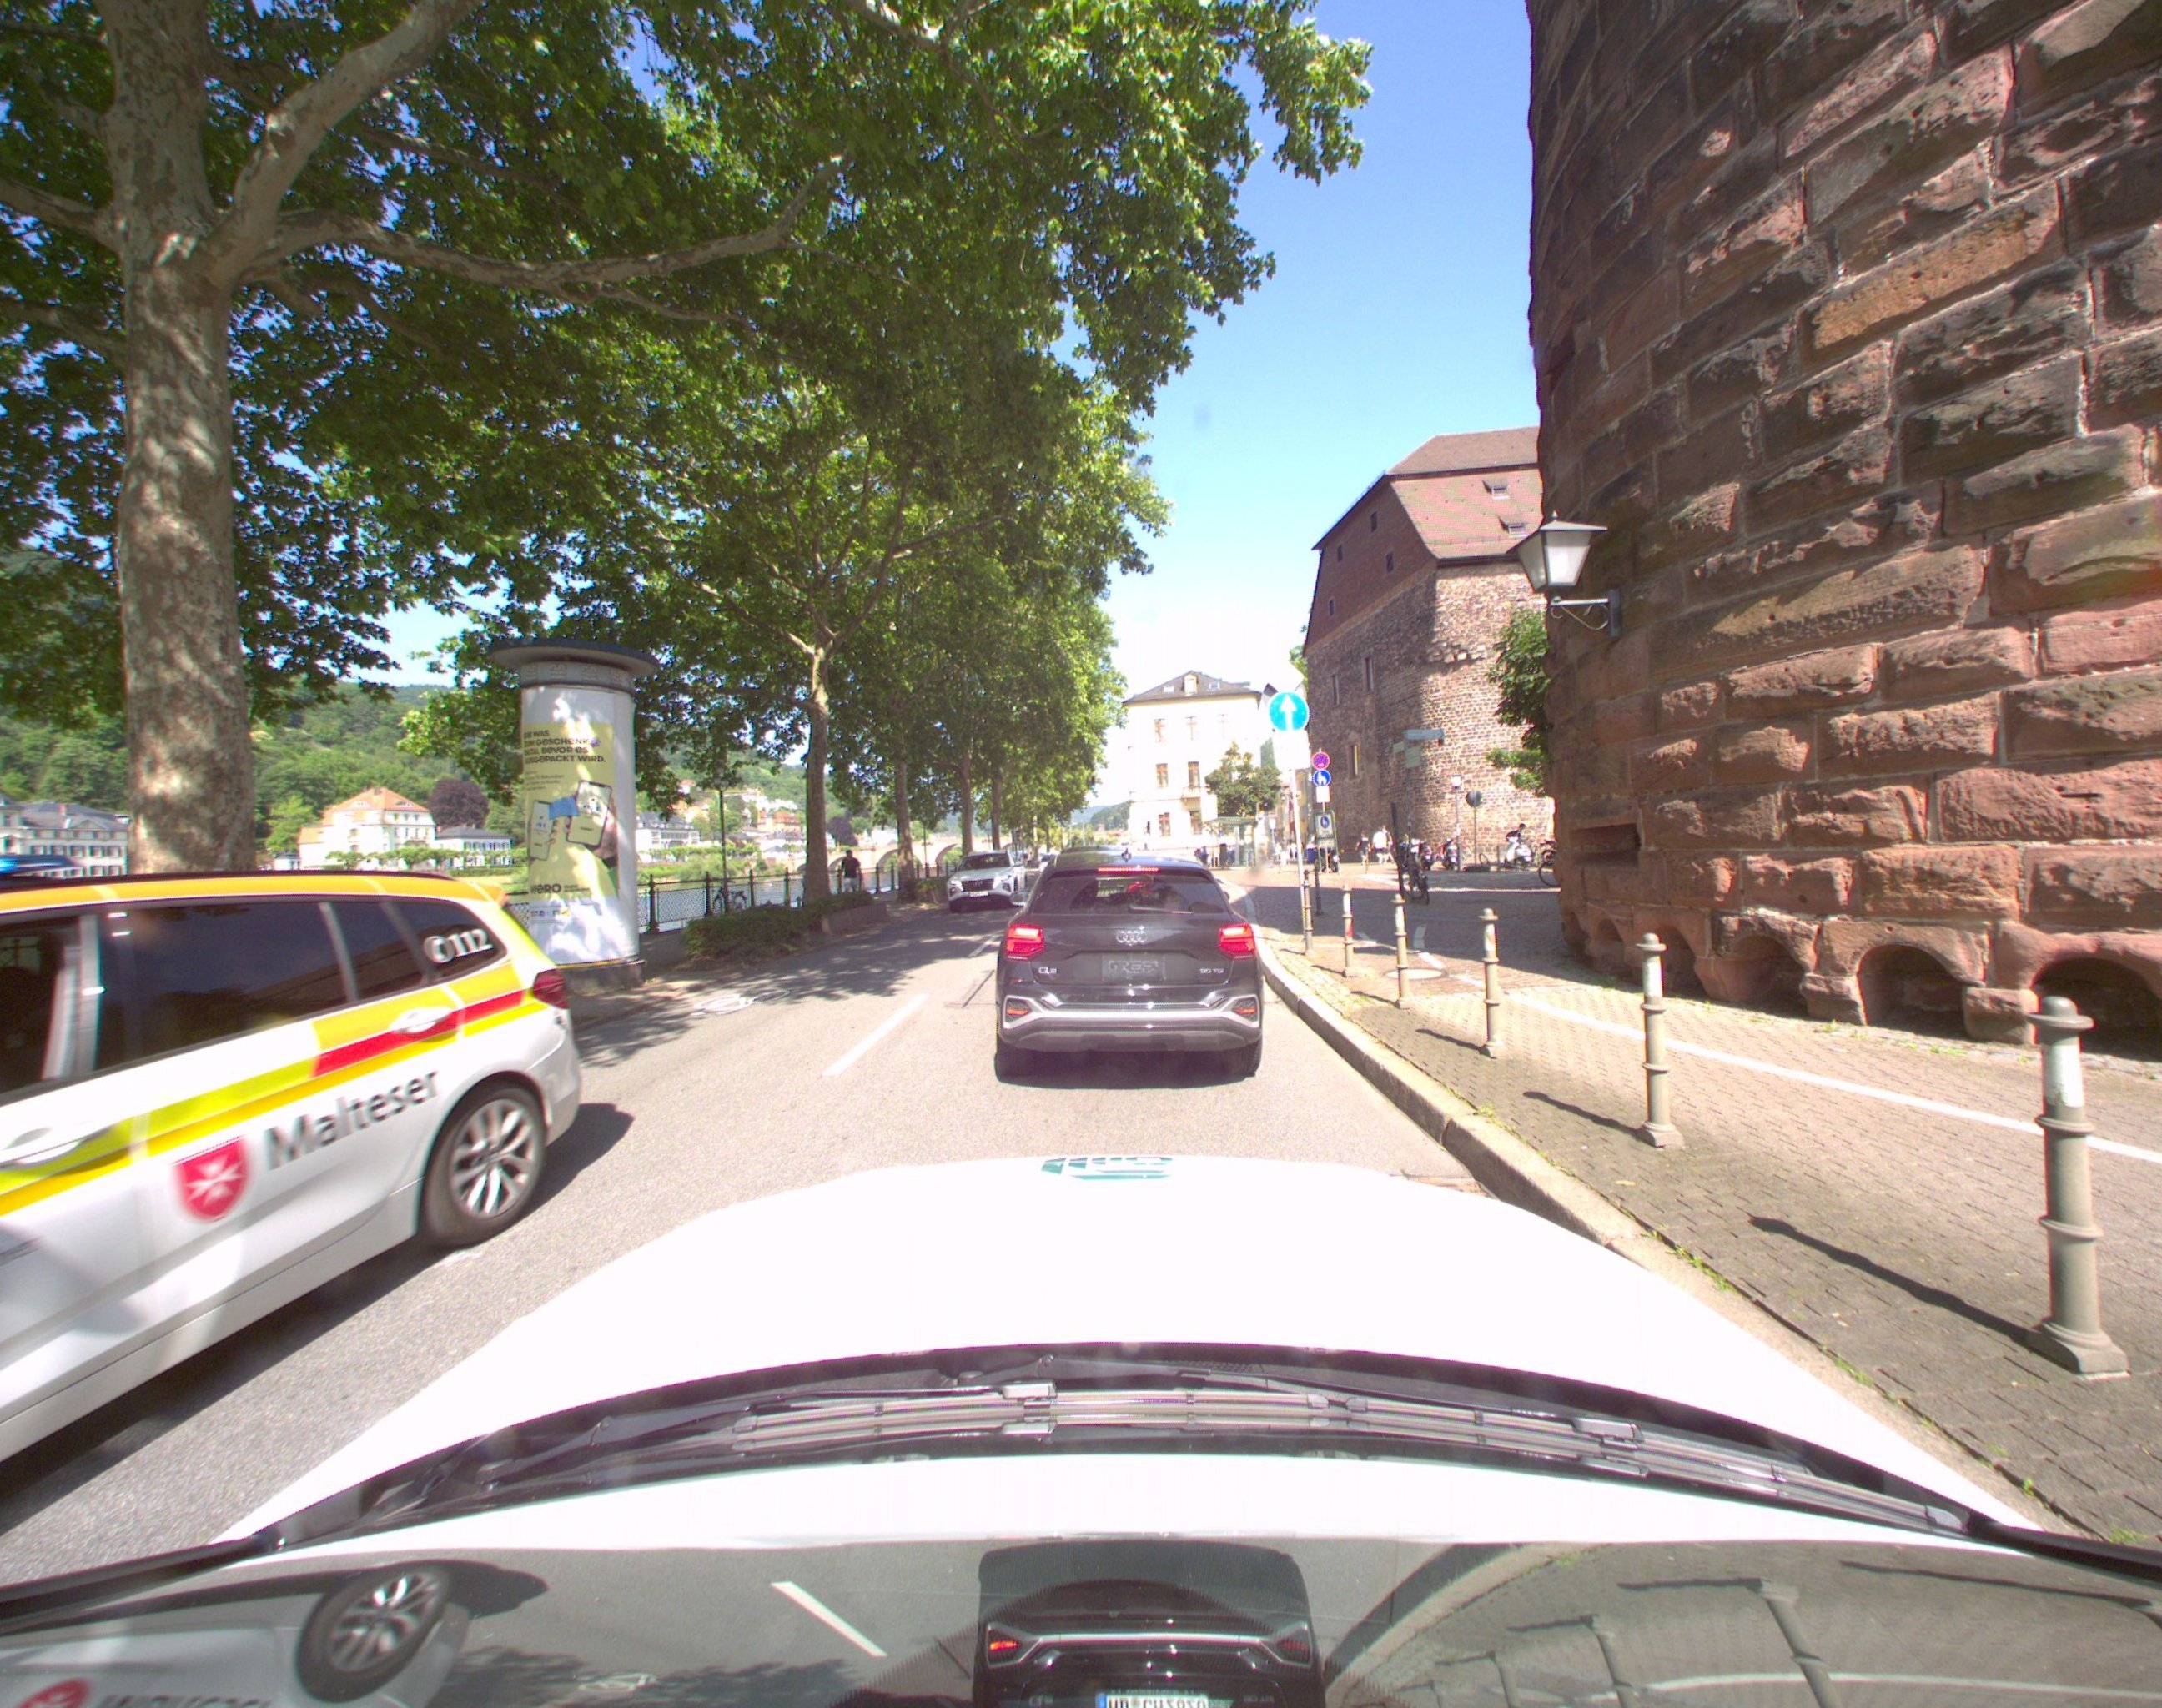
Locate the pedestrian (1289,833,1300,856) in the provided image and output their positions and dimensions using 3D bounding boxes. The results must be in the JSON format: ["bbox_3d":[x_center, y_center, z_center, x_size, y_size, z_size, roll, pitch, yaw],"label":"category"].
[{"bbox_3d":[19.203,-0.852,73.223,0.836,2.014,0.738,0,-1,2],"label":"pedestrian"}]

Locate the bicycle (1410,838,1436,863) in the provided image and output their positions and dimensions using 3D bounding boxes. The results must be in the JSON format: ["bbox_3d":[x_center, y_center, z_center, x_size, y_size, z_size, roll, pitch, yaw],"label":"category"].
[{"bbox_3d":[16.754,-0.148,39.943,0.388,1.209,1.715,0,-1,-6],"label":"bicycle"}]

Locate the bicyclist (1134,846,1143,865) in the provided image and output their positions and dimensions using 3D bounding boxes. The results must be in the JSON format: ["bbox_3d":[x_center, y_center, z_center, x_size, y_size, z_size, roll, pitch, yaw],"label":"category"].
[{"bbox_3d":[4.336,0.105,61.867,0.604,1.450,0.590,0,-1,-3],"label":"bicyclist"}]

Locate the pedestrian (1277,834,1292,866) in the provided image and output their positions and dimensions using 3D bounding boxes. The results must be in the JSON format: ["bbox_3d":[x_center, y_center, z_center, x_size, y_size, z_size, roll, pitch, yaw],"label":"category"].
[{"bbox_3d":[12.146,-0.207,48.585,0.744,1.890,0.753,-1,-1,4],"label":"pedestrian"}]

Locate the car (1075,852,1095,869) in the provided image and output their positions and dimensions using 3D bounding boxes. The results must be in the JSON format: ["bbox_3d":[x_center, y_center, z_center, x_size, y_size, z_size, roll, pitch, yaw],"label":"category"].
[{"bbox_3d":[0.435,0.705,89.549,1.985,1.806,4.003,-1,-1,3],"label":"car"}]

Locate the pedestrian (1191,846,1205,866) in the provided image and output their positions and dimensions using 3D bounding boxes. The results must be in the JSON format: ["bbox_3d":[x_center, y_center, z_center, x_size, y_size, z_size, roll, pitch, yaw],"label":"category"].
[{"bbox_3d":[6.912,0.118,48.072,0.662,1.211,0.640,0,-1,-5],"label":"pedestrian"}]

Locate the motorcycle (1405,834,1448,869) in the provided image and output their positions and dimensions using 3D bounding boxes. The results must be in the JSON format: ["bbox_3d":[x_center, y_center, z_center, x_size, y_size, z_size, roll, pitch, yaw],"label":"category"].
[{"bbox_3d":[12.827,-0.076,30.269,0.672,1.235,2.313,0,-1,2],"label":"motorcycle"}]

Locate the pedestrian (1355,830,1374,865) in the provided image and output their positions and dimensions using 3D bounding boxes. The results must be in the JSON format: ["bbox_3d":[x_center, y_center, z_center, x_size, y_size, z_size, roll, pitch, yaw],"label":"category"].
[{"bbox_3d":[14.574,-0.329,41.860,0.649,1.802,0.847,-1,0,1],"label":"pedestrian"}]

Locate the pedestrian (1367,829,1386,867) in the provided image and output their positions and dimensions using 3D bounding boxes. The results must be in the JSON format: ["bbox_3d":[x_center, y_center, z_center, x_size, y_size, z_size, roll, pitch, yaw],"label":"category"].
[{"bbox_3d":[14.775,-0.290,40.722,0.666,1.884,0.821,0,-1,1],"label":"pedestrian"}]

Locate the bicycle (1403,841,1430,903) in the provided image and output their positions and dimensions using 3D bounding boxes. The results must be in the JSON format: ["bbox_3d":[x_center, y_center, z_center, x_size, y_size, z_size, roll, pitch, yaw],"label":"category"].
[{"bbox_3d":[6.867,0.333,16.725,0.192,1.203,1.775,-2,1,13],"label":"bicycle"}]

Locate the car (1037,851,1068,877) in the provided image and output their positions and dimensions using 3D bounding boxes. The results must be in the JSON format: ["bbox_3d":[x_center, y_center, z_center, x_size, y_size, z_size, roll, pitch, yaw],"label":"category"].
[{"bbox_3d":[-1.914,0.647,55.769,1.732,1.572,4.093,-6,0,2],"label":"car"}]

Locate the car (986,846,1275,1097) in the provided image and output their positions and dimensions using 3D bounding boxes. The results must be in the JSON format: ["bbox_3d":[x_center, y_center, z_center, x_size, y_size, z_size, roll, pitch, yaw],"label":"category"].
[{"bbox_3d":[0.355,0.699,6.735,1.736,1.509,3.649,0,0,2],"label":"car"}]

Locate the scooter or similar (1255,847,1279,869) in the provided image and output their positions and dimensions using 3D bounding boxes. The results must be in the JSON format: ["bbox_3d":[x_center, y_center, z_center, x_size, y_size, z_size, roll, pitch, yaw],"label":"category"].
[{"bbox_3d":[8.991,0.181,39.312,1.085,1.066,0.323,0,-1,-1],"label":"scooter or similar"}]

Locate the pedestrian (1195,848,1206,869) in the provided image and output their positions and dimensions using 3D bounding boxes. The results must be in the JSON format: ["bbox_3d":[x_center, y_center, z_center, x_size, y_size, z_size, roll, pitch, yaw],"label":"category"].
[{"bbox_3d":[8.570,0.322,58.551,0.691,1.500,0.513,0,-1,-3],"label":"pedestrian"}]

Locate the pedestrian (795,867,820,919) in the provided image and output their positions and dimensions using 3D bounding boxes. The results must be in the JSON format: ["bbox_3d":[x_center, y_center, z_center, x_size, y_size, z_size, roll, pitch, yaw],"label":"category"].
[{"bbox_3d":[-7.435,1.052,22.136,0.476,1.362,0.418,-2,0,5],"label":"pedestrian"}]

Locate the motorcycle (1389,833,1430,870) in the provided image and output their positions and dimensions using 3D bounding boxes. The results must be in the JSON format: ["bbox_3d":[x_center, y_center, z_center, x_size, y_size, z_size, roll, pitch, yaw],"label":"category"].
[{"bbox_3d":[12.025,-0.074,29.892,0.653,1.266,2.201,-2,-1,2],"label":"motorcycle"}]

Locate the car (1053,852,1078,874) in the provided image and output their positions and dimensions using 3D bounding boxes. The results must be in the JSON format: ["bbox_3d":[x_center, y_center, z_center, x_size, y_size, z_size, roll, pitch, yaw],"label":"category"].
[{"bbox_3d":[-1.377,0.780,72.934,1.806,1.725,4.423,-8,0,2],"label":"car"}]

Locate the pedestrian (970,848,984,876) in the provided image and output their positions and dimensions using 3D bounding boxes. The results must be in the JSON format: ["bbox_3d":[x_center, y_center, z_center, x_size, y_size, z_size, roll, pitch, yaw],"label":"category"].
[{"bbox_3d":[-7.435,0.588,58.224,0.906,2.014,0.587,-1,-1,6],"label":"pedestrian"}]

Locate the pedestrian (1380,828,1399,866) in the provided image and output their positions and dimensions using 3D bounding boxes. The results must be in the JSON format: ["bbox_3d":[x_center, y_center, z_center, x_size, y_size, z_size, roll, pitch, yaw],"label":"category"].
[{"bbox_3d":[15.570,-0.342,41.091,0.666,1.920,0.821,0,-1,1],"label":"pedestrian"}]

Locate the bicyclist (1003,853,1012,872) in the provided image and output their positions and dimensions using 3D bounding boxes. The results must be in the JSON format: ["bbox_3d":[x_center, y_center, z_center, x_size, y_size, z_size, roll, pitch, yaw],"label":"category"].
[{"bbox_3d":[-5.038,0.566,56.123,0.565,1.311,0.551,0,-1,-3],"label":"bicyclist"}]

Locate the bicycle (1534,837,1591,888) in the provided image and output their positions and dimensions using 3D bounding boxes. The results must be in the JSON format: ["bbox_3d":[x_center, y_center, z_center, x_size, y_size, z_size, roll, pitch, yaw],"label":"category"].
[{"bbox_3d":[11.529,0.179,19.565,0.444,1.162,1.733,-2,0,5],"label":"bicycle"}]

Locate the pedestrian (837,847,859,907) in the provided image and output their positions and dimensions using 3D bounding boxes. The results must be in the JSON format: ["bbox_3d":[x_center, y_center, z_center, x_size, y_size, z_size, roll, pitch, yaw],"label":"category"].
[{"bbox_3d":[-7.435,0.742,26.023,0.532,1.887,0.437,-1,0,1],"label":"pedestrian"}]

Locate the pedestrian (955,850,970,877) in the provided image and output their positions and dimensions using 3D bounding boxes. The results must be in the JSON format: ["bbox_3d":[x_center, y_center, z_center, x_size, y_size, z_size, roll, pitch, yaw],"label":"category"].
[{"bbox_3d":[-8.013,0.663,55.206,0.906,1.811,0.587,-1,-1,6],"label":"pedestrian"}]

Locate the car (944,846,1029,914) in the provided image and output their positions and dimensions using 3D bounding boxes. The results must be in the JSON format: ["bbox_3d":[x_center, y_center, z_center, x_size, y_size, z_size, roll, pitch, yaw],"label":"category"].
[{"bbox_3d":[-2.649,0.675,23.674,1.762,1.660,4.001,-5,0,1],"label":"car"}]

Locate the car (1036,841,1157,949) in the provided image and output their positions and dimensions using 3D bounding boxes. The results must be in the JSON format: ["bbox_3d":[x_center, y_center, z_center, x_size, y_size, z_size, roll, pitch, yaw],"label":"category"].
[{"bbox_3d":[0.288,0.597,13.762,1.786,1.595,3.400,0,0,2],"label":"car"}]

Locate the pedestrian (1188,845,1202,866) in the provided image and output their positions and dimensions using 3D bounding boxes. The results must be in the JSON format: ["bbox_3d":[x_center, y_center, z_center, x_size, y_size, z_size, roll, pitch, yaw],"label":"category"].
[{"bbox_3d":[6.831,0.100,48.826,0.662,1.231,0.640,0,-1,-5],"label":"pedestrian"}]

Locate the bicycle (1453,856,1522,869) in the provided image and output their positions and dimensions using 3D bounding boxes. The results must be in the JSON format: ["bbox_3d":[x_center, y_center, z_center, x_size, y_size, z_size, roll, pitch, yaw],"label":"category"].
[{"bbox_3d":[13.608,0.280,27.320,1.914,0.381,0.921,-2,-1,16],"label":"bicycle"}]

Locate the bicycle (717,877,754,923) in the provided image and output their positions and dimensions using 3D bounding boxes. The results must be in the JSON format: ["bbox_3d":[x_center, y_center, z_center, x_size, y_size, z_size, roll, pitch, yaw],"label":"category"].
[{"bbox_3d":[-8.884,1.176,20.976,0.358,1.091,1.296,1,0,1],"label":"bicycle"}]

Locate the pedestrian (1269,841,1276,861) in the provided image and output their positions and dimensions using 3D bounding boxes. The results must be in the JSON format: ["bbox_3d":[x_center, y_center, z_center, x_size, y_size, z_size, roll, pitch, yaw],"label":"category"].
[{"bbox_3d":[16.367,-0.267,69.643,0.448,1.680,0.465,0,-1,-5],"label":"pedestrian"}]

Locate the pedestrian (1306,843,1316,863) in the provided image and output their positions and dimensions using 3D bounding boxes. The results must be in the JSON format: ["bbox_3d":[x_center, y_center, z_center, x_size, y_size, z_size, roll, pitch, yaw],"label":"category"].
[{"bbox_3d":[19.222,-0.094,68.073,0.685,1.612,0.896,-3,0,20],"label":"pedestrian"}]

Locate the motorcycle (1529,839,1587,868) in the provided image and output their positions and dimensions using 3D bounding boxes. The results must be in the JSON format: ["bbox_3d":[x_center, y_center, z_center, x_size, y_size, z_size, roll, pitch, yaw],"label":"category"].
[{"bbox_3d":[18.050,-0.024,30.846,1.854,1.054,0.481,-1,-1,9],"label":"motorcycle"}]

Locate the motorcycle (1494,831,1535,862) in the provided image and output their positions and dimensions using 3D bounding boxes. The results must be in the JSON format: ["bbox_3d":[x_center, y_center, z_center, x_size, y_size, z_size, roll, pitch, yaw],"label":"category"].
[{"bbox_3d":[15.478,-0.242,29.109,0.505,1.073,1.841,0,-1,2],"label":"motorcycle"}]

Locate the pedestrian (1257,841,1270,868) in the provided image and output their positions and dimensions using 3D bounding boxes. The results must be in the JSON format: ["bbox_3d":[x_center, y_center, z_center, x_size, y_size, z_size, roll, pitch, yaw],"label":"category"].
[{"bbox_3d":[9.528,0.011,42.470,0.555,1.385,0.588,-1,-1,4],"label":"pedestrian"}]

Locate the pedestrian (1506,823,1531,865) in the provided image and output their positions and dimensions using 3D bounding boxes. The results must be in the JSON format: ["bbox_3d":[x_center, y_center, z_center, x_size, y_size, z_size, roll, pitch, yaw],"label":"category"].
[{"bbox_3d":[17.738,-0.416,33.032,0.799,1.662,0.660,-3,0,26],"label":"pedestrian"}]

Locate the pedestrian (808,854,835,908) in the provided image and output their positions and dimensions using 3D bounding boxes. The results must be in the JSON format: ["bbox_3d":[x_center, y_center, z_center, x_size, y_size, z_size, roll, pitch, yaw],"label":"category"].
[{"bbox_3d":[-8.205,0.847,25.784,0.599,1.685,0.583,-3,0,0],"label":"pedestrian"}]

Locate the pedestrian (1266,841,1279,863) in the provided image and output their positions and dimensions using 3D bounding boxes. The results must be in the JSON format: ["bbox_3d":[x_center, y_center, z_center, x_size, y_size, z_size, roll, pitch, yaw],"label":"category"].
[{"bbox_3d":[17.356,-0.197,73.777,0.941,2.014,0.808,0,-1,2],"label":"pedestrian"}]

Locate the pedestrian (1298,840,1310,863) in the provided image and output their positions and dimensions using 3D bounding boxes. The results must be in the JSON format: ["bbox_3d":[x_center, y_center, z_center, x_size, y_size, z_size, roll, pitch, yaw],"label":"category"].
[{"bbox_3d":[20.166,-0.222,73.688,0.936,2.014,0.808,0,-1,2],"label":"pedestrian"}]

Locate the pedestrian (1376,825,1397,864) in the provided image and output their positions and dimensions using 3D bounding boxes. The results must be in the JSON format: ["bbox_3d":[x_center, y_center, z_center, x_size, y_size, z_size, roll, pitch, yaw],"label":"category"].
[{"bbox_3d":[15.813,-0.497,42.141,0.727,2.014,0.878,0,-1,1],"label":"pedestrian"}]

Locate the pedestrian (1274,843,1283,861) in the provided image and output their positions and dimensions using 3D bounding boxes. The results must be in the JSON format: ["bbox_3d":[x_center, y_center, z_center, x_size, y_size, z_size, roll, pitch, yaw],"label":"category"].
[{"bbox_3d":[16.900,-0.208,69.708,0.621,1.532,0.466,0,-1,-4],"label":"pedestrian"}]

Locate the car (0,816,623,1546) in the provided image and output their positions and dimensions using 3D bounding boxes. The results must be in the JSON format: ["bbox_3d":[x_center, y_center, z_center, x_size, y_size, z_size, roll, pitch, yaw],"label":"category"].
[{"bbox_3d":[-3.336,0.807,2.137,1.667,1.660,4.224,-5,0,1],"label":"car"}]

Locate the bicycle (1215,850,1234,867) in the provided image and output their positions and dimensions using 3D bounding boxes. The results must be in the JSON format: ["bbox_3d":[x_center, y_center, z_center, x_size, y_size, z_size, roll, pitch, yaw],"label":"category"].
[{"bbox_3d":[8.714,0.250,49.538,1.187,1.016,0.178,0,-1,-17],"label":"bicycle"}]

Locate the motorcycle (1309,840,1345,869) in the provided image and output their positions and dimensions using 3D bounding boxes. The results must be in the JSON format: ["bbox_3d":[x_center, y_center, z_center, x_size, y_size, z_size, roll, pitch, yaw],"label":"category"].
[{"bbox_3d":[9.054,0.024,30.052,0.564,1.012,2.490,-2,0,1],"label":"motorcycle"}]

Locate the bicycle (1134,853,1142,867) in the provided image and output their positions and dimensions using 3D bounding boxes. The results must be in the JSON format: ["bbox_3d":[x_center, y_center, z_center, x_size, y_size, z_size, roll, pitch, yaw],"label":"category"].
[{"bbox_3d":[4.313,0.455,61.860,0.436,1.086,1.675,0,-1,-2],"label":"bicycle"}]

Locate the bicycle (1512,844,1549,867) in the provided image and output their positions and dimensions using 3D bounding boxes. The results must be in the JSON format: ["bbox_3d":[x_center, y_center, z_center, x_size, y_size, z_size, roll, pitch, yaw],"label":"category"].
[{"bbox_3d":[16.632,0.056,30.158,0.352,0.820,1.926,0,1,1],"label":"bicycle"}]

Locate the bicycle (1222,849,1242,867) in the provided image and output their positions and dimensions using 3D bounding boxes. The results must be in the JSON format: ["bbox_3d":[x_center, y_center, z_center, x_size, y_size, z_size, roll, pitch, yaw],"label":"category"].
[{"bbox_3d":[9.081,0.240,48.948,1.205,1.035,0.178,0,-1,-17],"label":"bicycle"}]

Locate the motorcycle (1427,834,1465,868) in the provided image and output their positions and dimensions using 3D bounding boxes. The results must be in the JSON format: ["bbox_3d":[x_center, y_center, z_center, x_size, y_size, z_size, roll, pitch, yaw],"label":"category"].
[{"bbox_3d":[13.726,-0.106,30.661,0.544,1.235,2.031,0,-1,2],"label":"motorcycle"}]
